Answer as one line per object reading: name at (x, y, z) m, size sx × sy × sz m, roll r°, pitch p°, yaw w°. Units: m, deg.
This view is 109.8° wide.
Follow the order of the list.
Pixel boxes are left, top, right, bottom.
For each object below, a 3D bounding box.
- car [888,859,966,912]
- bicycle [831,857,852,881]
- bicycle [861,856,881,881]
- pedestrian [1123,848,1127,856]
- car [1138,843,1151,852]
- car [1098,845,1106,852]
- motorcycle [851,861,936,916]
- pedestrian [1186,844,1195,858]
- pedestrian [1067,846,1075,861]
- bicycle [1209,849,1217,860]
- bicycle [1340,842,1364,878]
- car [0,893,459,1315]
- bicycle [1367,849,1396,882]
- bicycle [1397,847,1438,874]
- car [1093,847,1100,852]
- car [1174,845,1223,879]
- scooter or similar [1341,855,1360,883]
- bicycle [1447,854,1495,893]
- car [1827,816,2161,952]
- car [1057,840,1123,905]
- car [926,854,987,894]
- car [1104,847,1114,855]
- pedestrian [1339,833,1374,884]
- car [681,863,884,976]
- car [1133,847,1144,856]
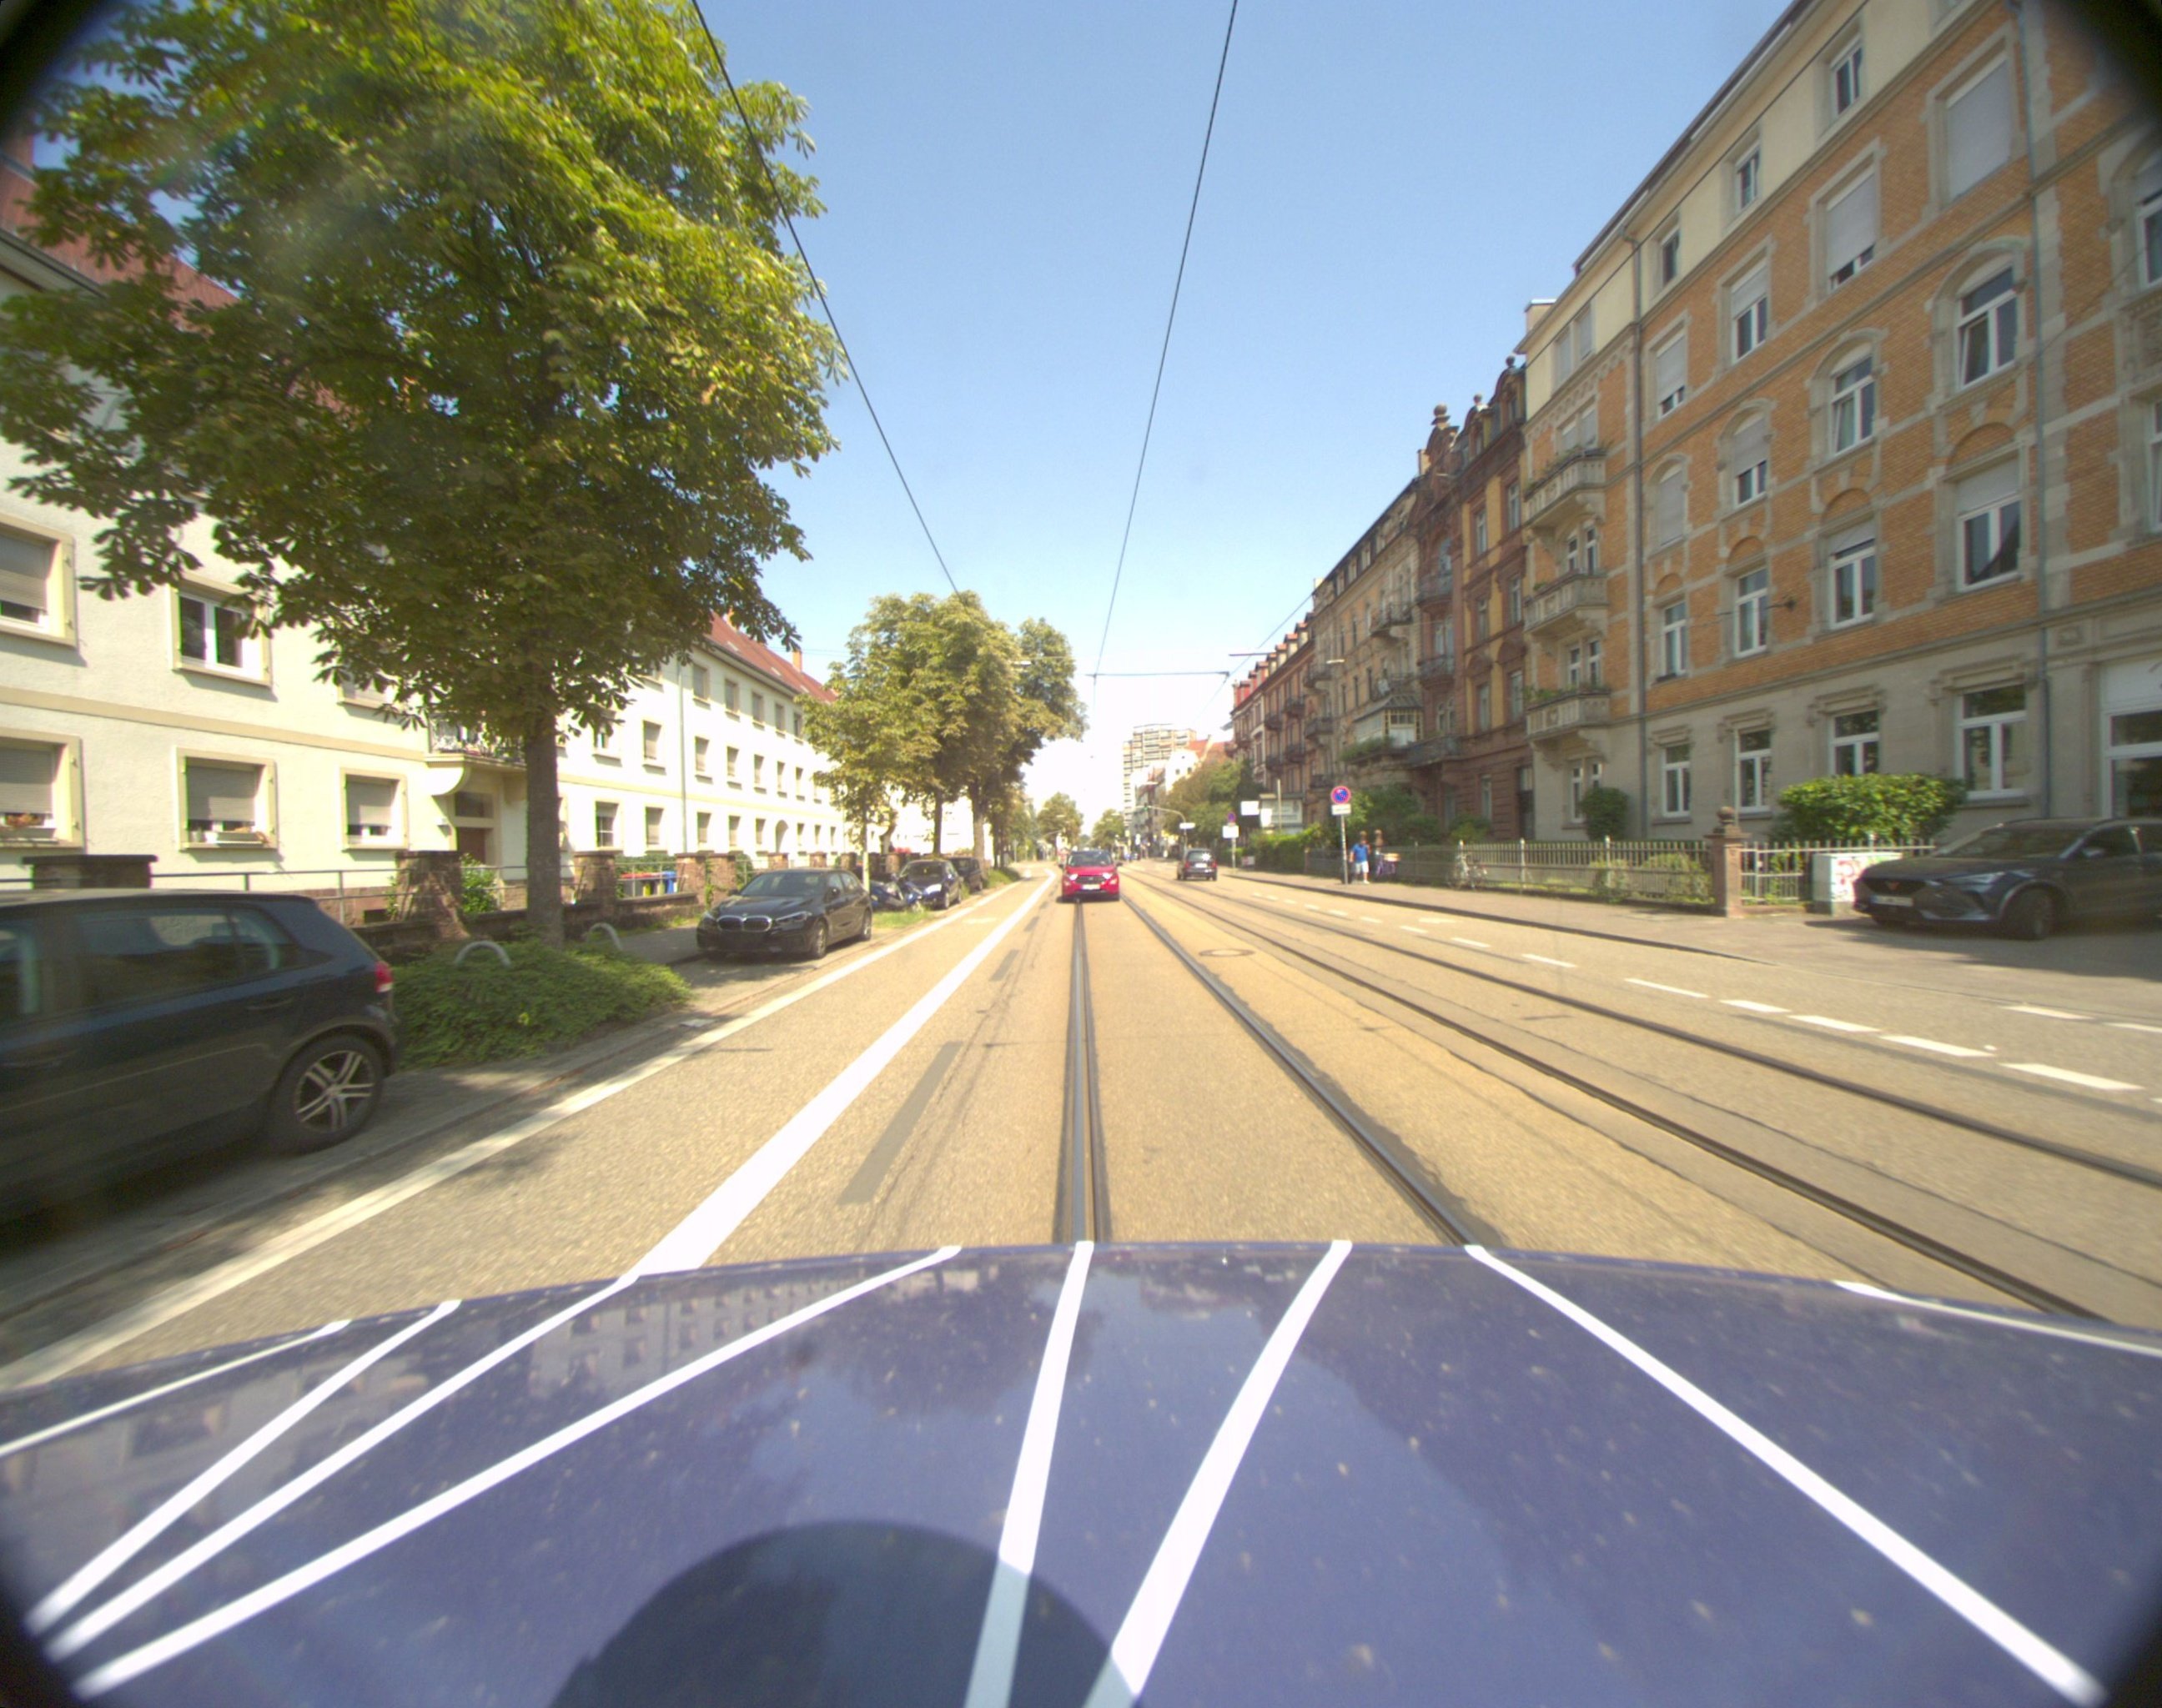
car at (-4.761, 0.936, 24.042) m, size 1.621 × 1.469 × 4.038 m, roll 0°, pitch 1°, yaw 0°
bicycle at (-11.423, 0.712, 36.230) m, size 0.469 × 1.087 × 1.717 m, roll -1°, pitch 1°, yaw -1°
bicycle at (-9.845, 0.666, 35.702) m, size 0.469 × 1.153 × 1.717 m, roll -1°, pitch 1°, yaw -1°
pedestrian at (6.565, -0.333, 112.948) m, size 0.480 × 1.243 × 0.648 m, roll -1°, pitch 1°, yaw 1°
car at (12.104, -1.164, 144.739) m, size 1.998 × 1.716 × 4.630 m, roll 0°, pitch 0°, yaw 1°
car at (5.381, -1.509, 193.755) m, size 1.998 × 1.716 × 4.631 m, roll 0°, pitch 0°, yaw 2°
motorcycle at (-4.911, 0.904, 19.991) m, size 2.009 × 1.360 × 0.782 m, roll -1°, pitch 1°, yaw -3°
pedestrian at (15.985, -0.455, 111.337) m, size 1.094 × 2.002 × 1.036 m, roll -3°, pitch 1°, yaw 0°
pedestrian at (-1.259, -0.021, 96.668) m, size 0.676 × 1.874 × 0.921 m, roll -2°, pitch 1°, yaw -21°
bicycle at (11.910, 0.035, 68.789) m, size 0.488 × 0.980 × 1.657 m, roll -2°, pitch 1°, yaw 3°
bicycle at (10.853, 0.231, 30.472) m, size 0.391 × 1.398 × 1.582 m, roll -2°, pitch 1°, yaw 1°
car at (-4.974, 1.027, 2.795) m, size 1.760 × 1.469 × 4.385 m, roll -1°, pitch 1°, yaw -1°
bicycle at (10.682, 0.381, 27.049) m, size 0.391 × 1.141 × 1.582 m, roll -2°, pitch 1°, yaw 1°
bicycle at (13.073, 0.257, 29.559) m, size 1.403 × 1.026 × 0.391 m, roll -2°, pitch 1°, yaw -2°
car at (5.120, -1.434, 251.009) m, size 1.998 × 1.716 × 4.630 m, roll 0°, pitch 0°, yaw 1°
car at (5.788, 0.366, 37.830) m, size 1.831 × 1.531 × 4.000 m, roll -1°, pitch 0°, yaw 0°
scooter or similar at (9.730, 0.547, 27.437) m, size 0.401 × 0.977 × 0.584 m, roll -3°, pitch 1°, yaw -8°
bicycle at (10.817, 0.517, 21.137) m, size 0.391 × 1.032 × 1.833 m, roll -2°, pitch 0°, yaw 1°
car at (13.236, 0.339, 10.412) m, size 4.111 × 1.585 × 1.879 m, roll -2°, pitch 1°, yaw 2°
car at (0.294, 0.504, 24.401) m, size 1.803 × 1.801 × 4.415 m, roll -4°, pitch 1°, yaw 1°
car at (-5.167, 0.806, 32.035) m, size 1.620 × 1.521 × 3.500 m, roll 0°, pitch 1°, yaw 6°
car at (6.142, -0.685, 167.160) m, size 1.998 × 1.716 × 4.631 m, roll 0°, pitch 0°, yaw 1°
pedestrian at (9.836, 0.153, 27.158) m, size 0.885 × 1.746 × 0.870 m, roll -1°, pitch 1°, yaw 0°
car at (-4.951, 0.988, 13.360) m, size 1.760 × 1.469 × 4.456 m, roll 2°, pitch 1°, yaw 0°
car at (9.511, -0.469, 126.086) m, size 1.731 × 1.425 × 4.177 m, roll -1°, pitch 1°, yaw 3°
